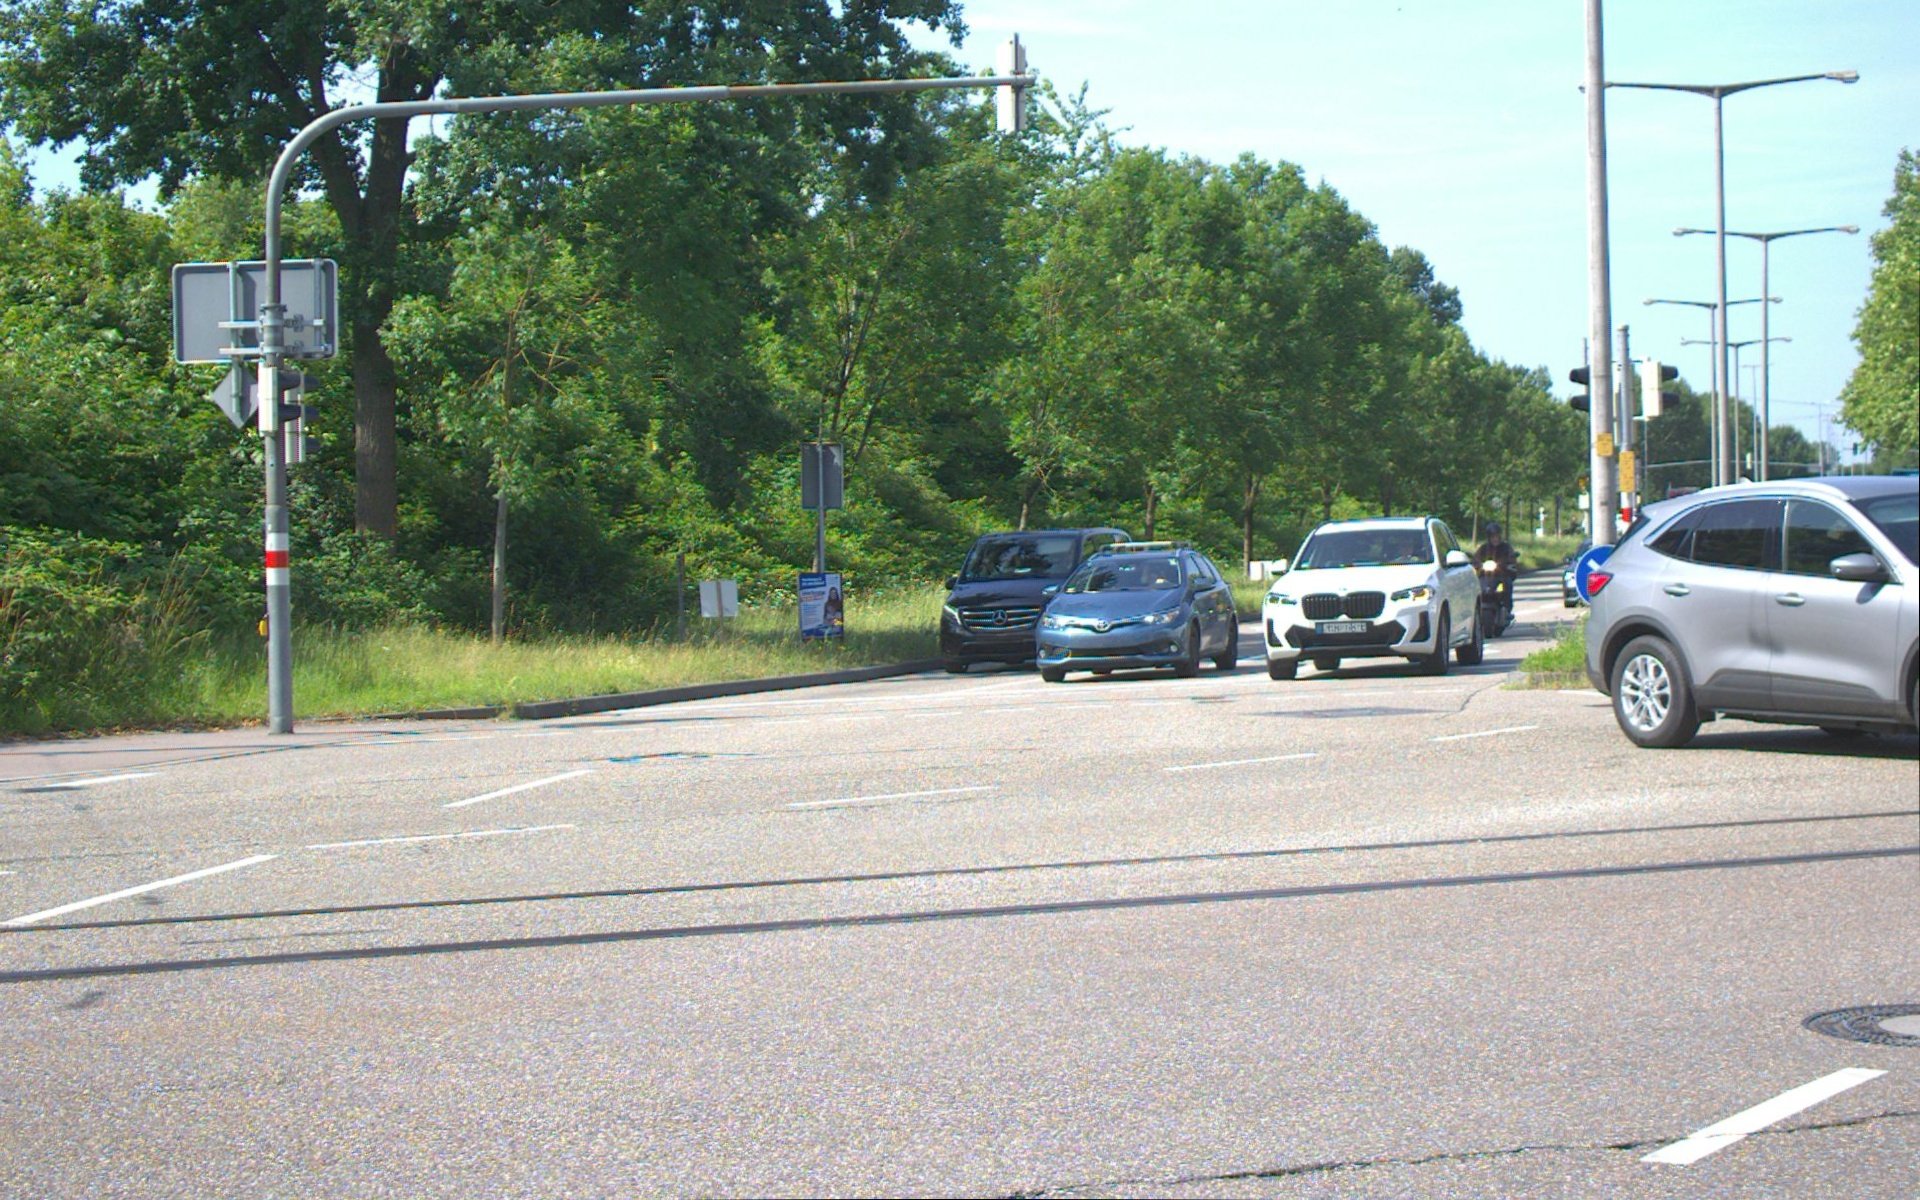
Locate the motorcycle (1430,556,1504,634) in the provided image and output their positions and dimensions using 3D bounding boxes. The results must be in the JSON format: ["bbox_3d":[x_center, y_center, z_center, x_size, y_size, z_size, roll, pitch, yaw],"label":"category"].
[{"bbox_3d":[7.465,-0.085,50.544,0.735,1.079,2.042,-2,0,17],"label":"motorcycle"}]

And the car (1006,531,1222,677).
[{"bbox_3d":[1.833,0.011,39.711,1.850,1.556,3.998,-1,1,12],"label":"car"}]

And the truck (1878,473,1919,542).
[{"bbox_3d":[61.728,-6.032,223.821,3.194,4.340,13.137,-1,1,17],"label":"truck"}]

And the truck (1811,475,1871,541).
[{"bbox_3d":[49.906,-5.208,194.665,2.843,3.565,8.713,-1,1,17],"label":"truck"}]

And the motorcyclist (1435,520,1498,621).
[{"bbox_3d":[7.453,-0.443,50.548,0.735,1.442,0.872,-2,0,17],"label":"motorcyclist"}]

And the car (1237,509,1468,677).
[{"bbox_3d":[4.342,-0.120,37.404,1.911,1.683,4.624,-1,1,14],"label":"car"}]

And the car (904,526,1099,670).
[{"bbox_3d":[0.609,-0.063,46.234,1.850,1.808,3.998,-1,1,12],"label":"car"}]

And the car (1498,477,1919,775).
[{"bbox_3d":[5.474,0.103,20.756,1.990,1.645,4.656,-2,1,-27],"label":"car"}]
